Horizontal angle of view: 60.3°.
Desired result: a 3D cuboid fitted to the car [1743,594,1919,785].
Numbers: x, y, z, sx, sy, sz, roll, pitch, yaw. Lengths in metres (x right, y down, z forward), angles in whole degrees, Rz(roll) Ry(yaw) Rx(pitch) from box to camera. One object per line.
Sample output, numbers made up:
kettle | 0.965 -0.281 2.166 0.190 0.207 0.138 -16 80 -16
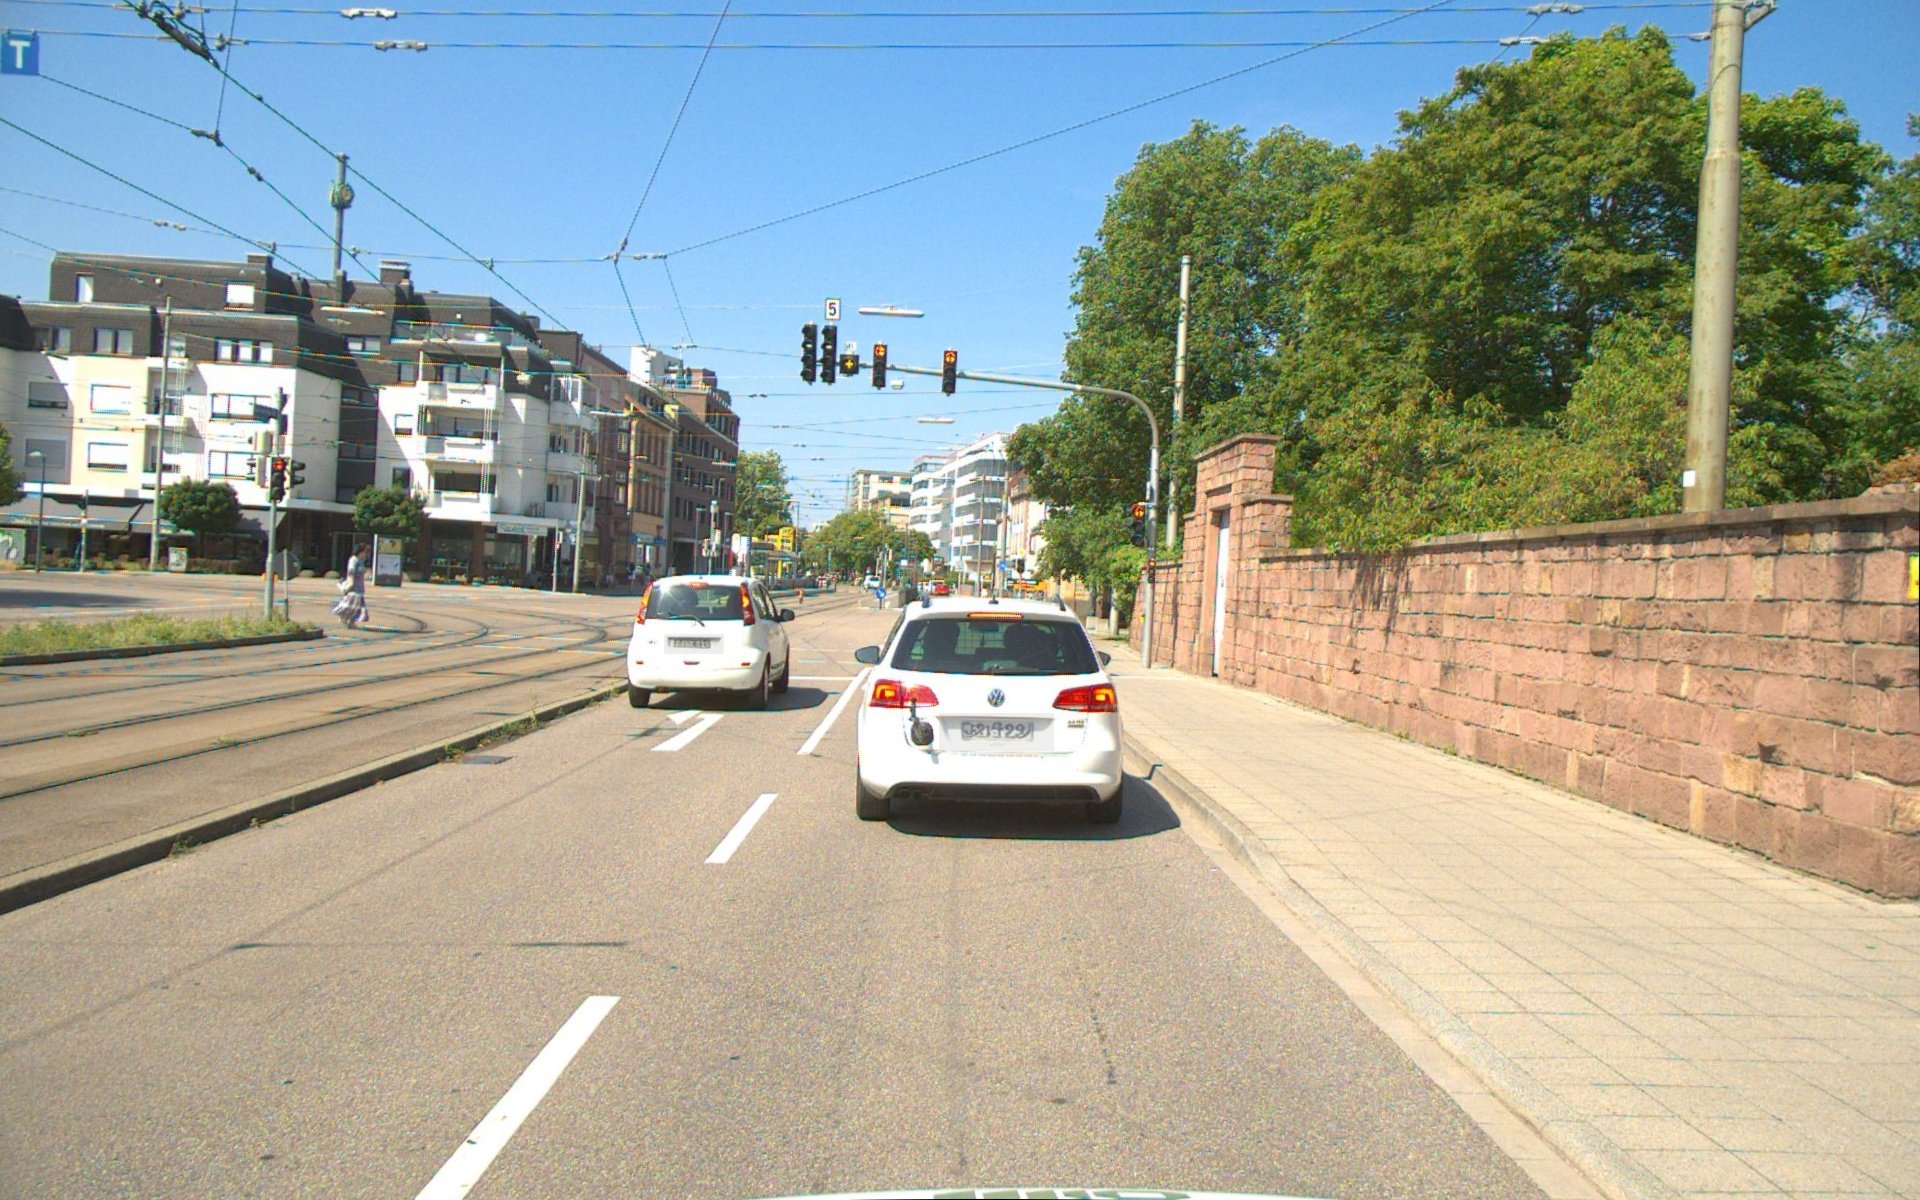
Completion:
car | 8.713 0.787 14.066 3.339 1.489 1.524 3 0 -2

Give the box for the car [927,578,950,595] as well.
car | -2.736 -1.717 210.407 1.960 2.048 3.986 2 0 -14

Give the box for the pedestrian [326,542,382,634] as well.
pedestrian | -12.013 -0.246 32.816 0.811 1.769 0.930 2 0 -8

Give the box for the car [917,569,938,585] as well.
car | -4.378 -3.150 225.081 1.960 2.048 3.986 2 0 -14

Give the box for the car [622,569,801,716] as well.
car | -3.053 0.474 21.023 1.695 1.624 4.010 2 1 -1

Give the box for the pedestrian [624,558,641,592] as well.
pedestrian | -20.391 -1.571 102.999 0.919 2.048 0.989 2 0 -7

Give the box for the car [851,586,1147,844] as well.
car | 0.267 0.661 11.706 1.742 1.516 3.847 0 0 1

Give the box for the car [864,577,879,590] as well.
car | -12.273 -2.273 229.120 1.668 1.618 3.526 2 1 -11

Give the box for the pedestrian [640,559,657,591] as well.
pedestrian | -20.467 -1.619 108.594 0.918 2.048 0.989 2 0 -6

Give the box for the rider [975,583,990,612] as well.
rider | 1.387 -0.176 102.496 0.873 1.758 2.203 2 0 0

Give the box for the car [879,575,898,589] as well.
car | -10.827 -2.735 250.647 1.960 2.048 3.986 2 0 -14

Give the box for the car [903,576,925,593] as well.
car | -5.874 -1.983 210.109 1.960 1.937 3.986 2 0 -14

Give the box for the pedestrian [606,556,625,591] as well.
pedestrian | -20.569 -1.564 98.694 0.918 2.048 0.989 2 0 -6

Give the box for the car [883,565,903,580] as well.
car | -9.935 -4.056 245.998 1.962 2.048 3.983 5 0 -16

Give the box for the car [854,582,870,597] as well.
car | -10.908 -1.201 183.971 1.664 1.618 3.534 2 0 -2

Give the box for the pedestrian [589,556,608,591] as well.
pedestrian | -21.511 -1.589 98.516 0.918 2.048 0.990 2 0 -5
